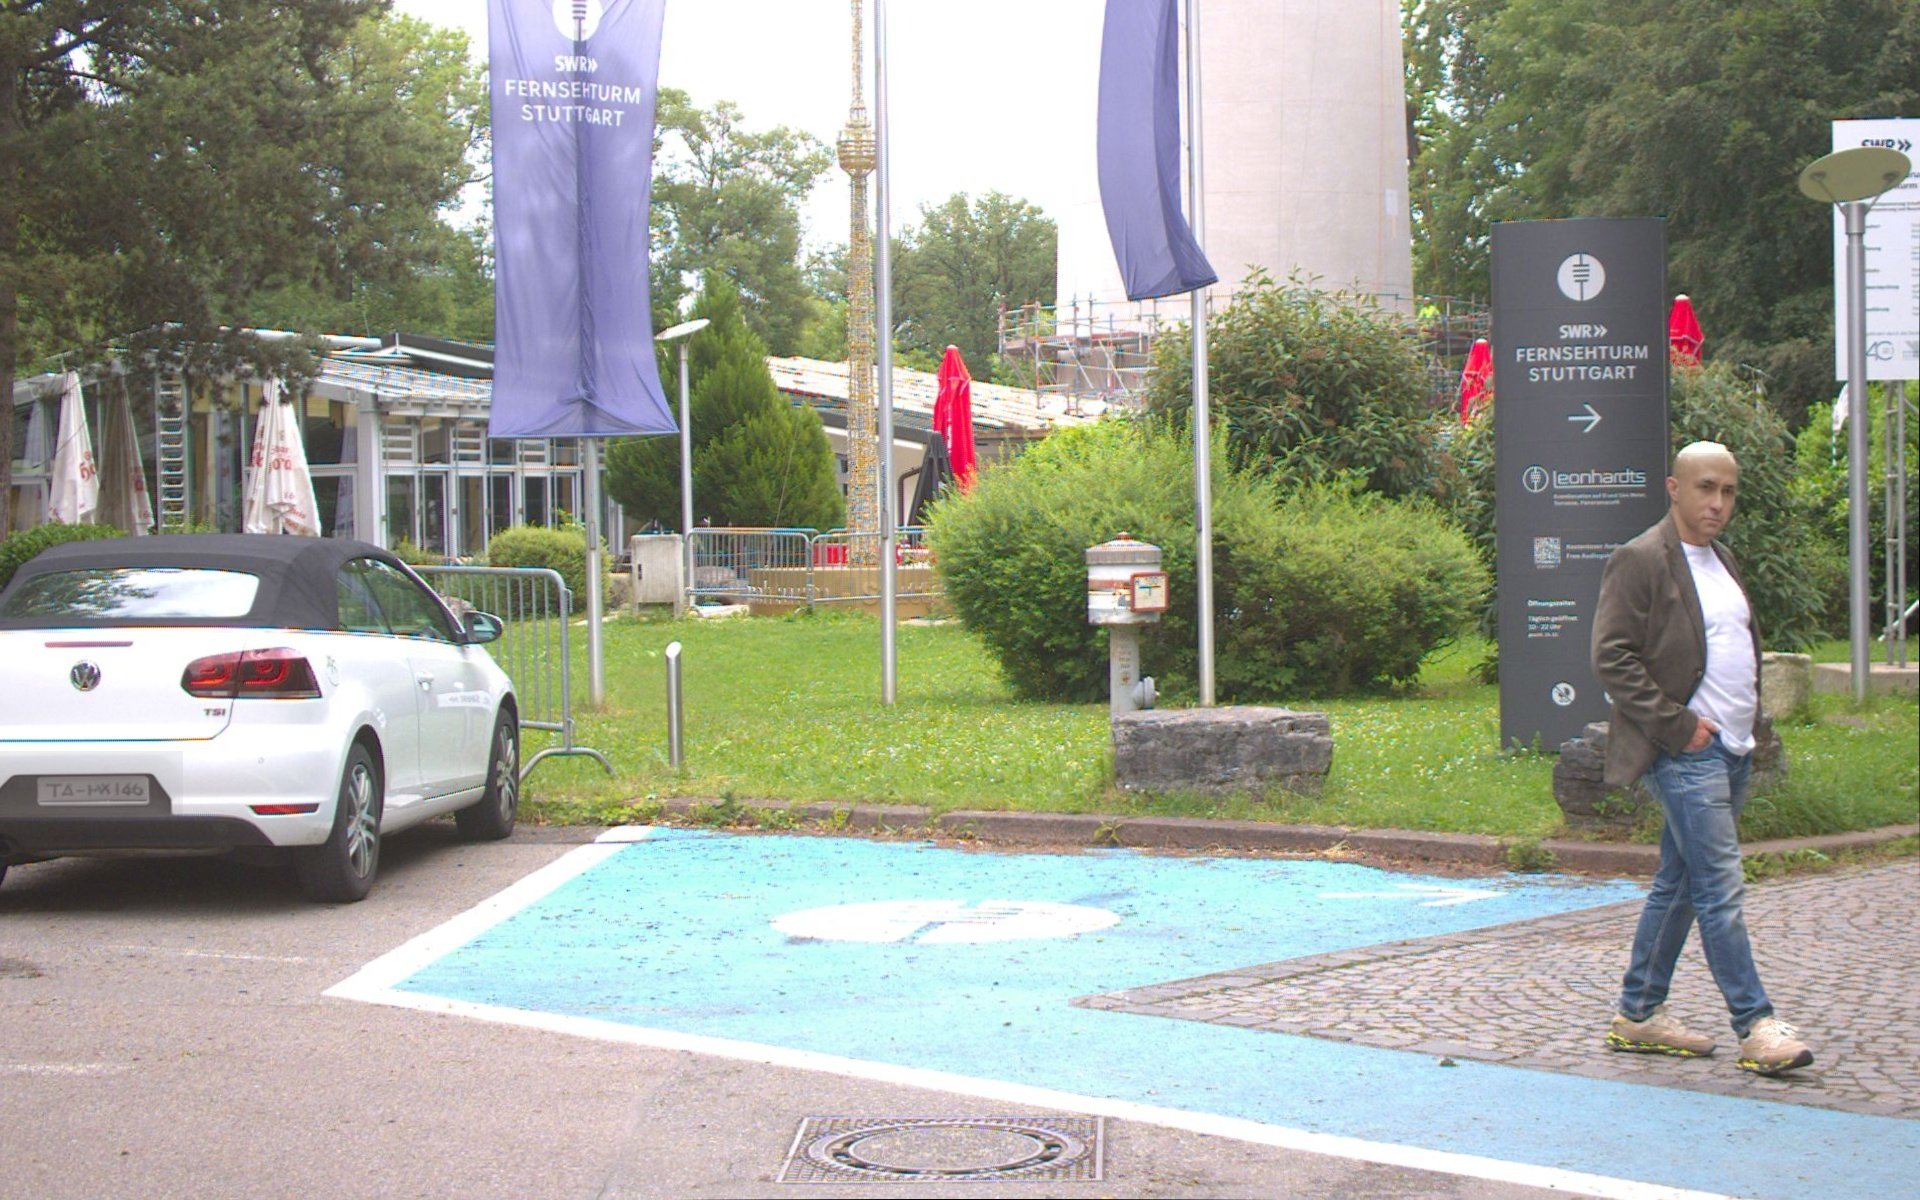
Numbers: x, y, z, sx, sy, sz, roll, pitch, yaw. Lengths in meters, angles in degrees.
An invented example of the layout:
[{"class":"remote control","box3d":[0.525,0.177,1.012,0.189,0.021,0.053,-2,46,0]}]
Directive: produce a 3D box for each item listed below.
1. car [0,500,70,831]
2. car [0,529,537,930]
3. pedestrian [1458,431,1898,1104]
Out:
[{"class":"car","box3d":[-5.625,0.345,15.434,1.893,1.579,4.000,0,2,5]},{"class":"car","box3d":[-3.151,0.430,14.569,1.893,1.423,4.000,0,2,5]},{"class":"pedestrian","box3d":[1.951,0.413,9.356,0.896,1.719,0.762,1,2,45]}]
